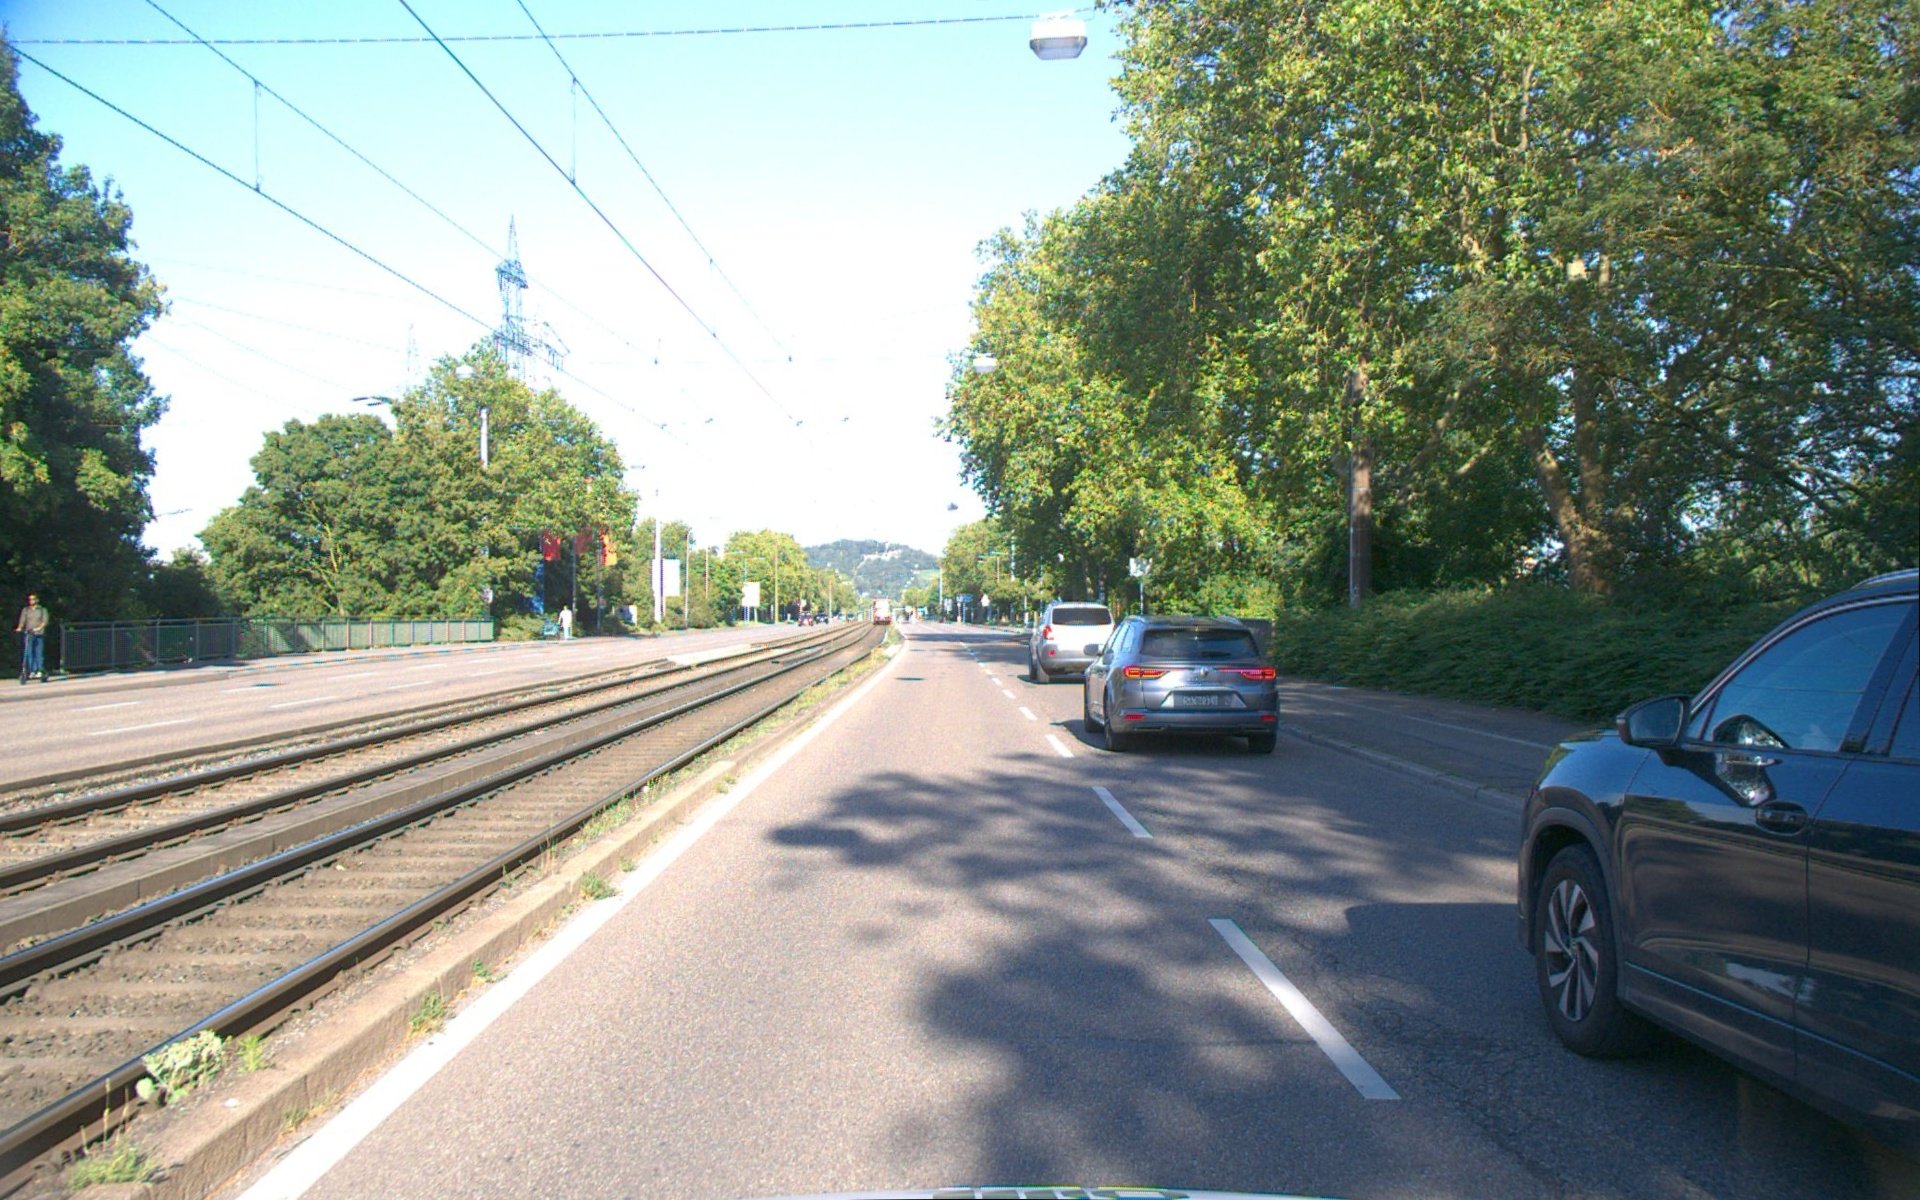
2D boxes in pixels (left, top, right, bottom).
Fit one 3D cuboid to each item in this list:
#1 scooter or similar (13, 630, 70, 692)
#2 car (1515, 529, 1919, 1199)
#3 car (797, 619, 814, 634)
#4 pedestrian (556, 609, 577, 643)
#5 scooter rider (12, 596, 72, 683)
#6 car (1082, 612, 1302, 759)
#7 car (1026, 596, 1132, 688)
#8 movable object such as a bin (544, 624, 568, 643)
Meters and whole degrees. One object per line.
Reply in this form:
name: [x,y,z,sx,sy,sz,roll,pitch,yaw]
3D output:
scooter or similar: [-20.206,1.326,36.407,0.462,1.319,1.263,-1,0,5]
car: [3.067,0.679,4.077,1.807,1.690,4.438,0,0,-2]
car: [-19.014,3.247,203.485,1.825,1.750,3.999,0,0,-2]
pedestrian: [-20.991,1.390,88.258,0.709,1.787,0.835,2,-2,20]
scooter rider: [-20.226,0.866,36.458,0.667,1.881,1.001,-1,0,6]
car: [2.524,0.888,19.076,1.828,1.493,4.665,0,-1,-1]
car: [2.533,0.868,36.009,1.845,1.827,3.998,2,0,-2]
movable object such as a bin: [-21.339,1.758,87.339,0.709,0.978,1.101,2,-2,20]
